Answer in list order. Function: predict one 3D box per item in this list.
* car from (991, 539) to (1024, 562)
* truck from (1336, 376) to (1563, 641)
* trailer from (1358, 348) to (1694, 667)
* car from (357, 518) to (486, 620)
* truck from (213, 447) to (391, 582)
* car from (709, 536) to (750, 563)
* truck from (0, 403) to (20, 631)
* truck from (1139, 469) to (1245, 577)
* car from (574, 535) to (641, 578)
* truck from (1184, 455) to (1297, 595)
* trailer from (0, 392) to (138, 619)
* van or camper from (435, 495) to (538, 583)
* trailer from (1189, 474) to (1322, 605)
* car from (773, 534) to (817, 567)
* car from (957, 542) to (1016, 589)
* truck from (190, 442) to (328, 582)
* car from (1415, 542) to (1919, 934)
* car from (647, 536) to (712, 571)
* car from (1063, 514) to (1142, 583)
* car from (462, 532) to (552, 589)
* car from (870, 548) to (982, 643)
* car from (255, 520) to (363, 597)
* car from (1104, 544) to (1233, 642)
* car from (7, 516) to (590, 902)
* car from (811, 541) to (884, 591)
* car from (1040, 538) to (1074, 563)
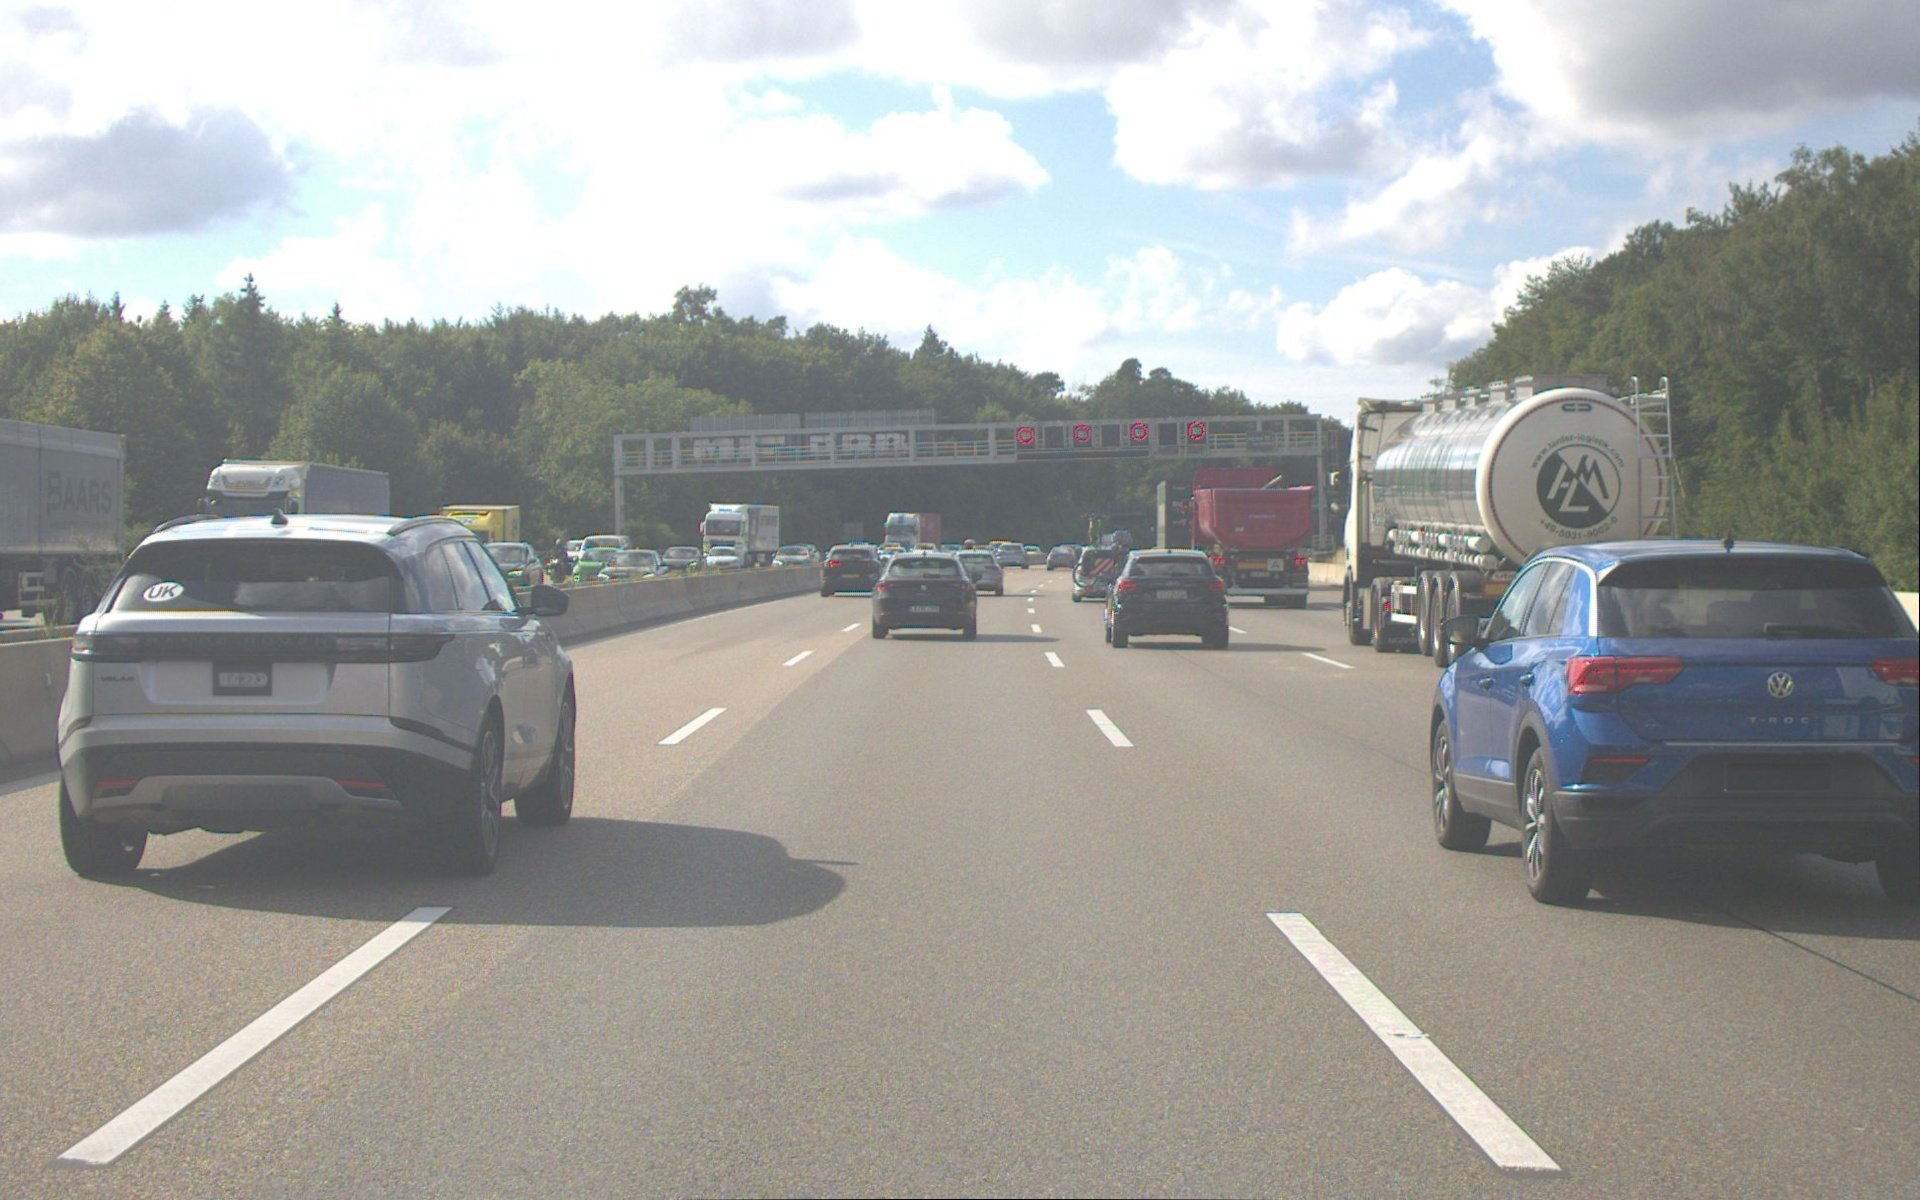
[{"bbox_3d":[3.118,-3.226,223.362,2.077,1.452,4.000,-1,1,1],"label":"car"},{"bbox_3d":[7.415,-1.383,52.782,2.649,3.810,6.082,0,1,0],"label":"truck"},{"bbox_3d":[7.387,-1.210,46.609,2.649,3.754,11.860,0,1,0],"label":"trailer"},{"bbox_3d":[-10.401,-0.622,66.718,1.849,1.872,4.616,-1,1,-1],"label":"car"},{"bbox_3d":[-20.984,-2.697,110.585,2.819,4.080,13.845,0,1,1],"label":"truck"},{"bbox_3d":[-11.967,-2.612,178.492,1.769,1.389,4.691,0,1,0],"label":"car"},{"bbox_3d":[-17.693,-1.367,55.776,2.967,3.845,6.765,0,1,1],"label":"truck"},{"bbox_3d":[8.698,-2.898,130.034,3.118,3.921,10.412,0,1,-1],"label":"truck"},{"bbox_3d":[-12.375,-1.538,120.915,1.784,1.465,4.331,0,1,1],"label":"car"},{"bbox_3d":[7.688,-2.075,94.772,2.710,3.706,5.818,1,1,1],"label":"truck"},{"bbox_3d":[-17.654,-1.663,61.663,2.967,3.845,11.281,0,1,1],"label":"trailer"},{"bbox_3d":[-16.213,-2.093,117.970,2.374,2.882,6.506,-1,1,2],"label":"van or camper"},{"bbox_3d":[7.647,-1.618,90.023,2.710,3.220,9.733,1,2,1],"label":"trailer"},{"bbox_3d":[-7.937,-2.388,165.766,1.863,1.546,4.662,0,1,1],"label":"car"},{"bbox_3d":[0.847,-1.091,108.572,1.822,1.452,4.000,1,1,0],"label":"car"},{"bbox_3d":[-21.101,-2.636,103.780,2.819,4.080,6.062,0,1,1],"label":"truck"},{"bbox_3d":[3.288,0.509,15.820,1.773,1.525,4.458,0,1,0],"label":"car"},{"bbox_3d":[-11.830,-1.971,145.297,2.171,1.465,4.786,0,1,2],"label":"car"},{"bbox_3d":[3.969,-1.449,96.177,1.893,1.850,4.101,1,1,-2],"label":"car"},{"bbox_3d":[-13.223,-1.178,100.611,1.844,1.590,4.913,-1,1,1],"label":"car"},{"bbox_3d":[-0.562,-0.099,57.972,1.822,1.541,4.000,0,1,0],"label":"car"},{"bbox_3d":[-16.874,-1.085,89.274,1.847,1.934,5.034,0,1,0],"label":"car"},{"bbox_3d":[3.217,-0.141,53.554,1.822,1.452,4.000,0,1,1],"label":"car"},{"bbox_3d":[-3.071,0.412,17.134,2.006,1.611,5.301,1,1,-1],"label":"car"},{"bbox_3d":[-3.432,-1.072,105.734,1.942,1.452,4.000,-1,1,2],"label":"car"},{"bbox_3d":[6.037,-3.068,213.315,2.077,1.452,4.000,-1,1,2],"label":"car"}]
